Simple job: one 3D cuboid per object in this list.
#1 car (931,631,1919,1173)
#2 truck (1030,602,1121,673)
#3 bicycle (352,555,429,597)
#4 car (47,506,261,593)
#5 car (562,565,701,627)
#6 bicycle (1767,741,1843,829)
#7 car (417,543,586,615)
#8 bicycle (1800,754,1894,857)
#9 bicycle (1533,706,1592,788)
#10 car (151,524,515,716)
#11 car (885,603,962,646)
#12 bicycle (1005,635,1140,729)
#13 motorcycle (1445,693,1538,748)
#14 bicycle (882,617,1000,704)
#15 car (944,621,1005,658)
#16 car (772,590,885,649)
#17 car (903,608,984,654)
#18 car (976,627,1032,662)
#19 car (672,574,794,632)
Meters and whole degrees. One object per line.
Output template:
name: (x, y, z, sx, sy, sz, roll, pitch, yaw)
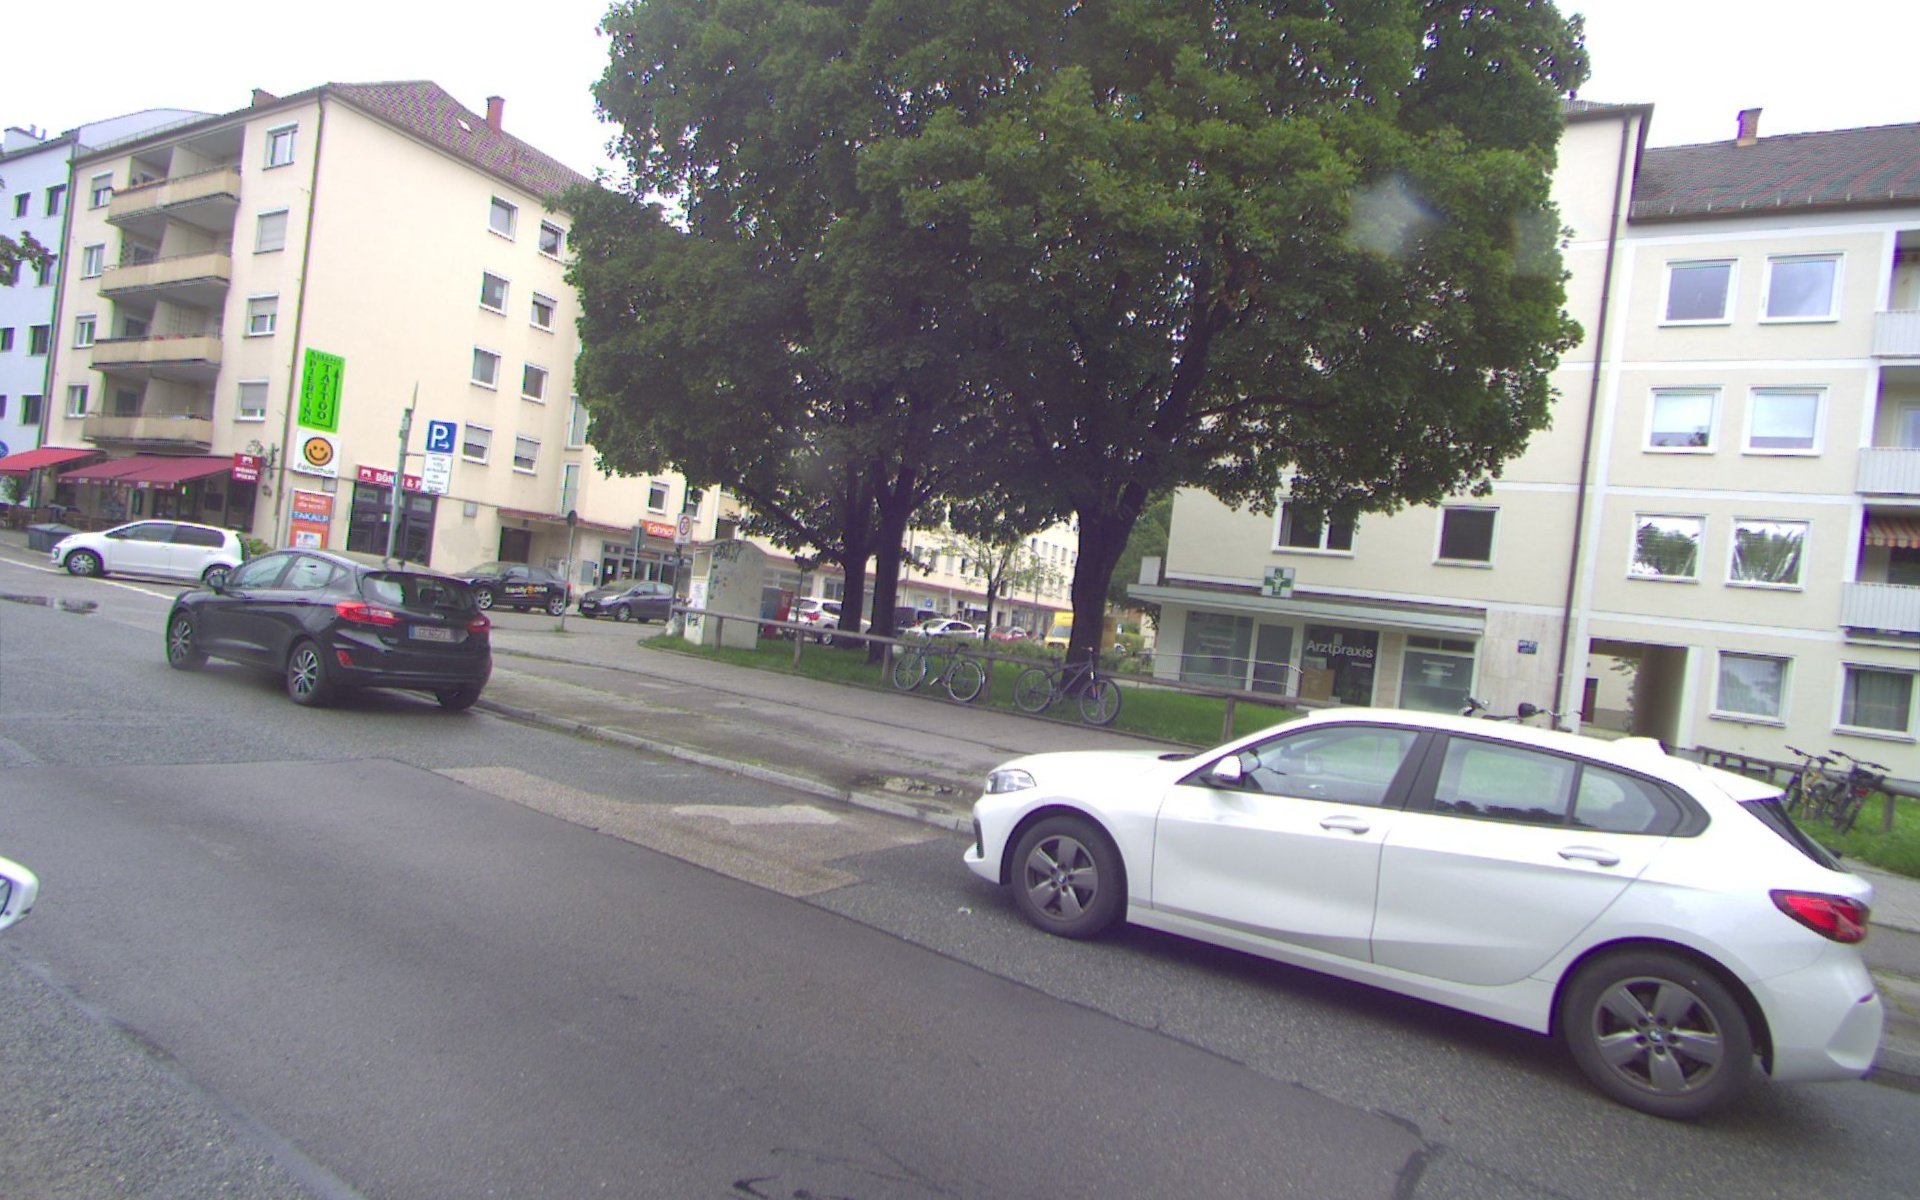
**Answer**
car: (2.090, 1.219, 5.399, 4.067, 1.481, 1.687, 7, -3, 30)
truck: (6.552, 2.196, 55.936, 2.318, 3.282, 7.426, 7, -2, 27)
bicycle: (-16.650, -0.685, 29.448, 0.548, 0.968, 1.852, 7, -2, 30)
car: (-18.304, -1.133, 23.074, 3.525, 1.434, 1.855, 8, 0, -33)
car: (-11.288, -0.088, 34.874, 1.839, 1.681, 4.401, 7, 0, 28)
bicycle: (11.274, 2.437, 13.464, 0.425, 0.985, 1.880, 7, -2, 32)
car: (-13.831, -0.577, 30.638, 1.839, 1.681, 4.403, 7, 0, 26)
bicycle: (10.287, 2.344, 11.711, 0.425, 0.985, 1.880, 7, -2, 32)
bicycle: (8.118, 1.945, 13.527, 0.548, 0.950, 1.881, 7, -2, 32)
car: (-6.591, 0.185, 10.513, 3.613, 1.482, 1.621, 7, -3, 31)
car: (-1.872, 1.355, 53.178, 1.839, 1.679, 4.751, 7, -3, 27)
bicycle: (1.615, 1.174, 14.651, 1.852, 1.116, 0.382, 6, -1, 32)
motorcycle: (12.924, 2.911, 24.464, 1.875, 1.035, 0.605, 6, -1, 32)
bicycle: (-0.318, 0.936, 15.815, 1.823, 1.118, 0.390, 6, -1, 32)
car: (0.891, 2.321, 58.648, 1.839, 1.679, 4.089, 7, -2, 27)
car: (-4.877, 0.779, 37.978, 1.839, 1.680, 4.404, 8, -1, 28)
car: (-0.750, 1.564, 49.525, 1.839, 1.679, 4.740, 7, -3, 27)
car: (2.789, 2.792, 62.538, 1.839, 1.679, 4.089, 7, -2, 27)
car: (-8.893, 0.156, 39.838, 1.840, 1.795, 4.743, 7, 0, 29)
